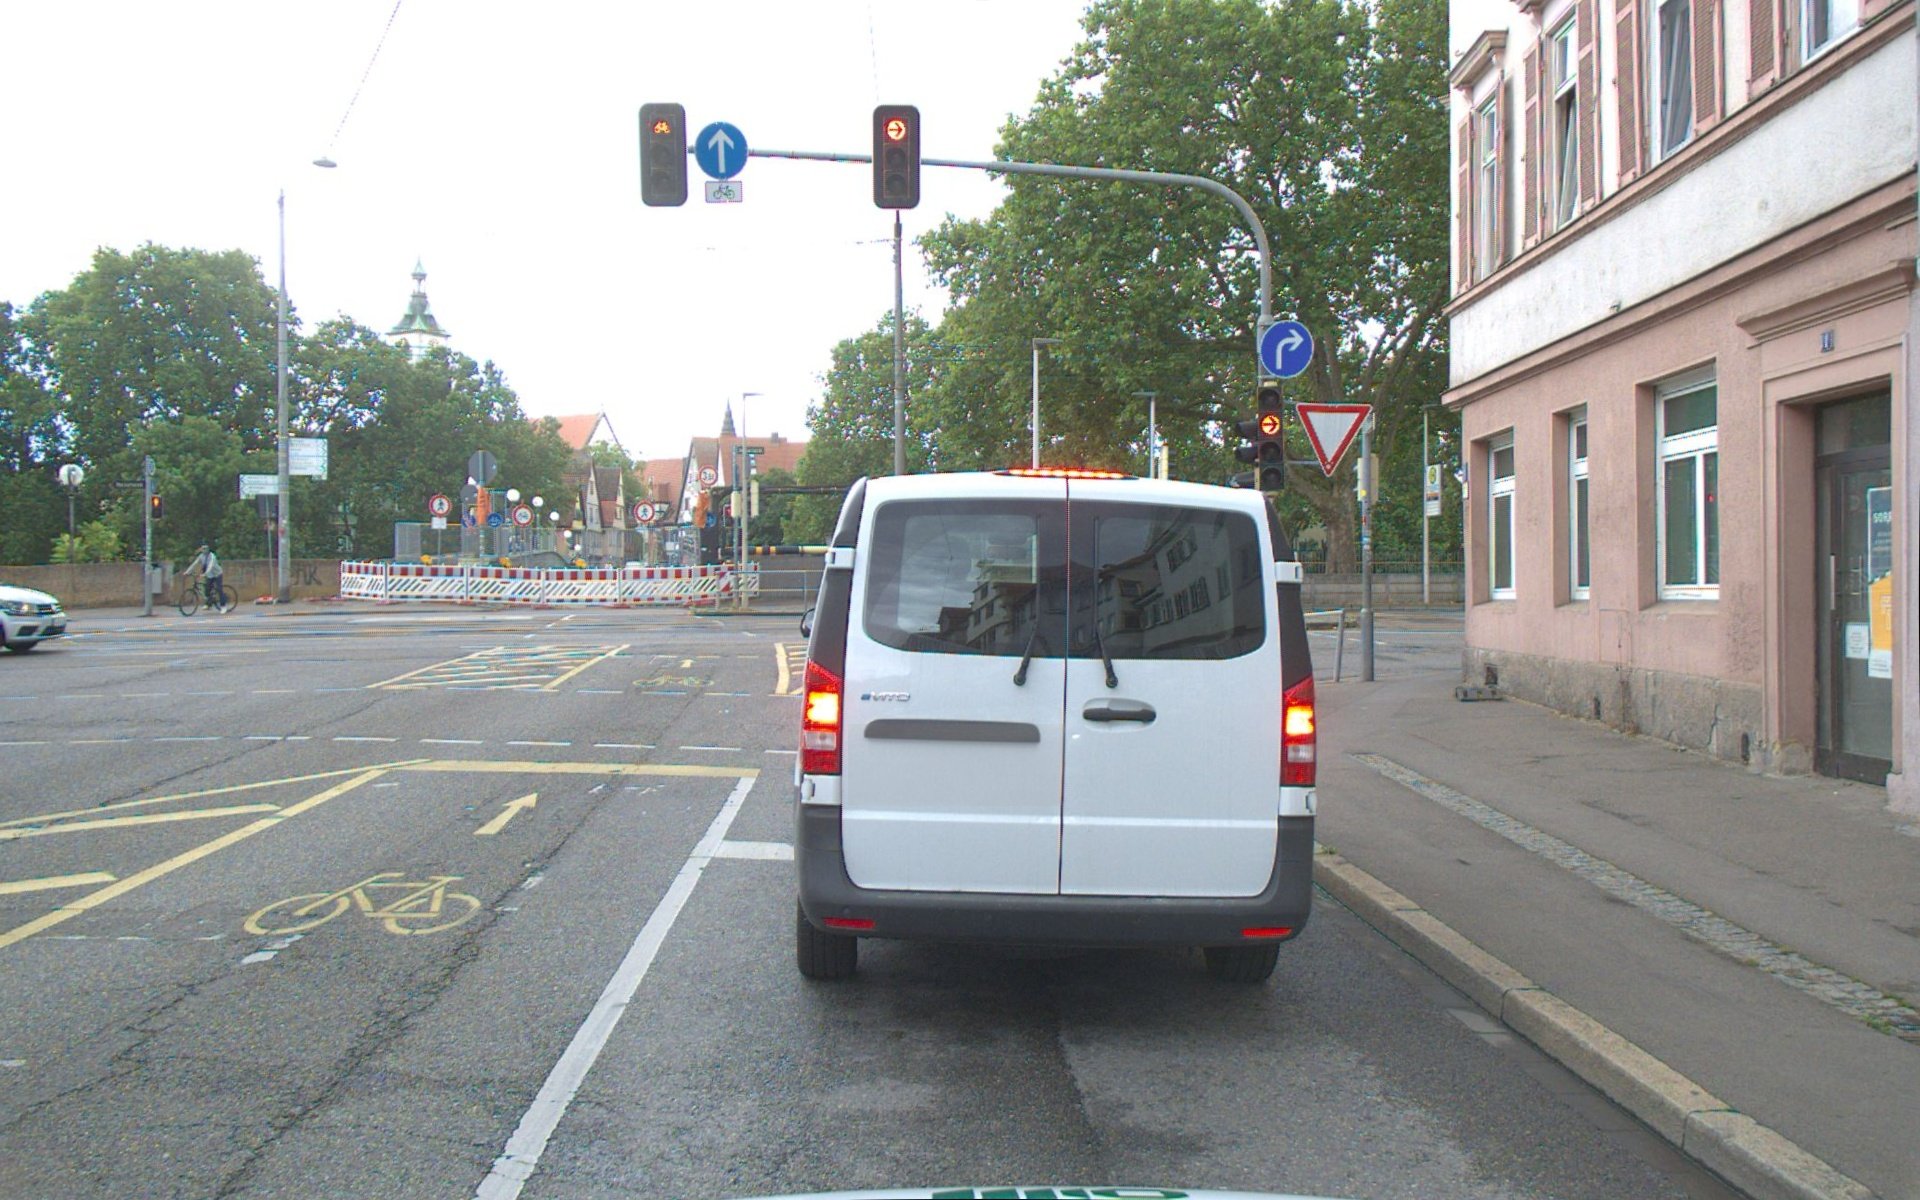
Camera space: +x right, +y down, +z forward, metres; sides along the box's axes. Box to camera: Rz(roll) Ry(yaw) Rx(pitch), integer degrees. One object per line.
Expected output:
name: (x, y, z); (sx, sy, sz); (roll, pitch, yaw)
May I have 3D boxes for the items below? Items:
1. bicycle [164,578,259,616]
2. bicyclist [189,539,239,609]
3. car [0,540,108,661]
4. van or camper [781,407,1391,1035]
bicycle: (-19.368, -0.078, 42.823); (2.121, 0.907, 0.748); (-2, 3, -43)
bicyclist: (-19.327, -0.689, 42.839); (0.997, 1.773, 0.743); (-1, 2, -43)
car: (-16.380, 0.046, 26.596); (4.268, 1.833, 1.996); (-2, 3, -10)
van or camper: (0.290, 0.334, 7.446); (1.899, 1.958, 4.439); (1, 2, -3)
